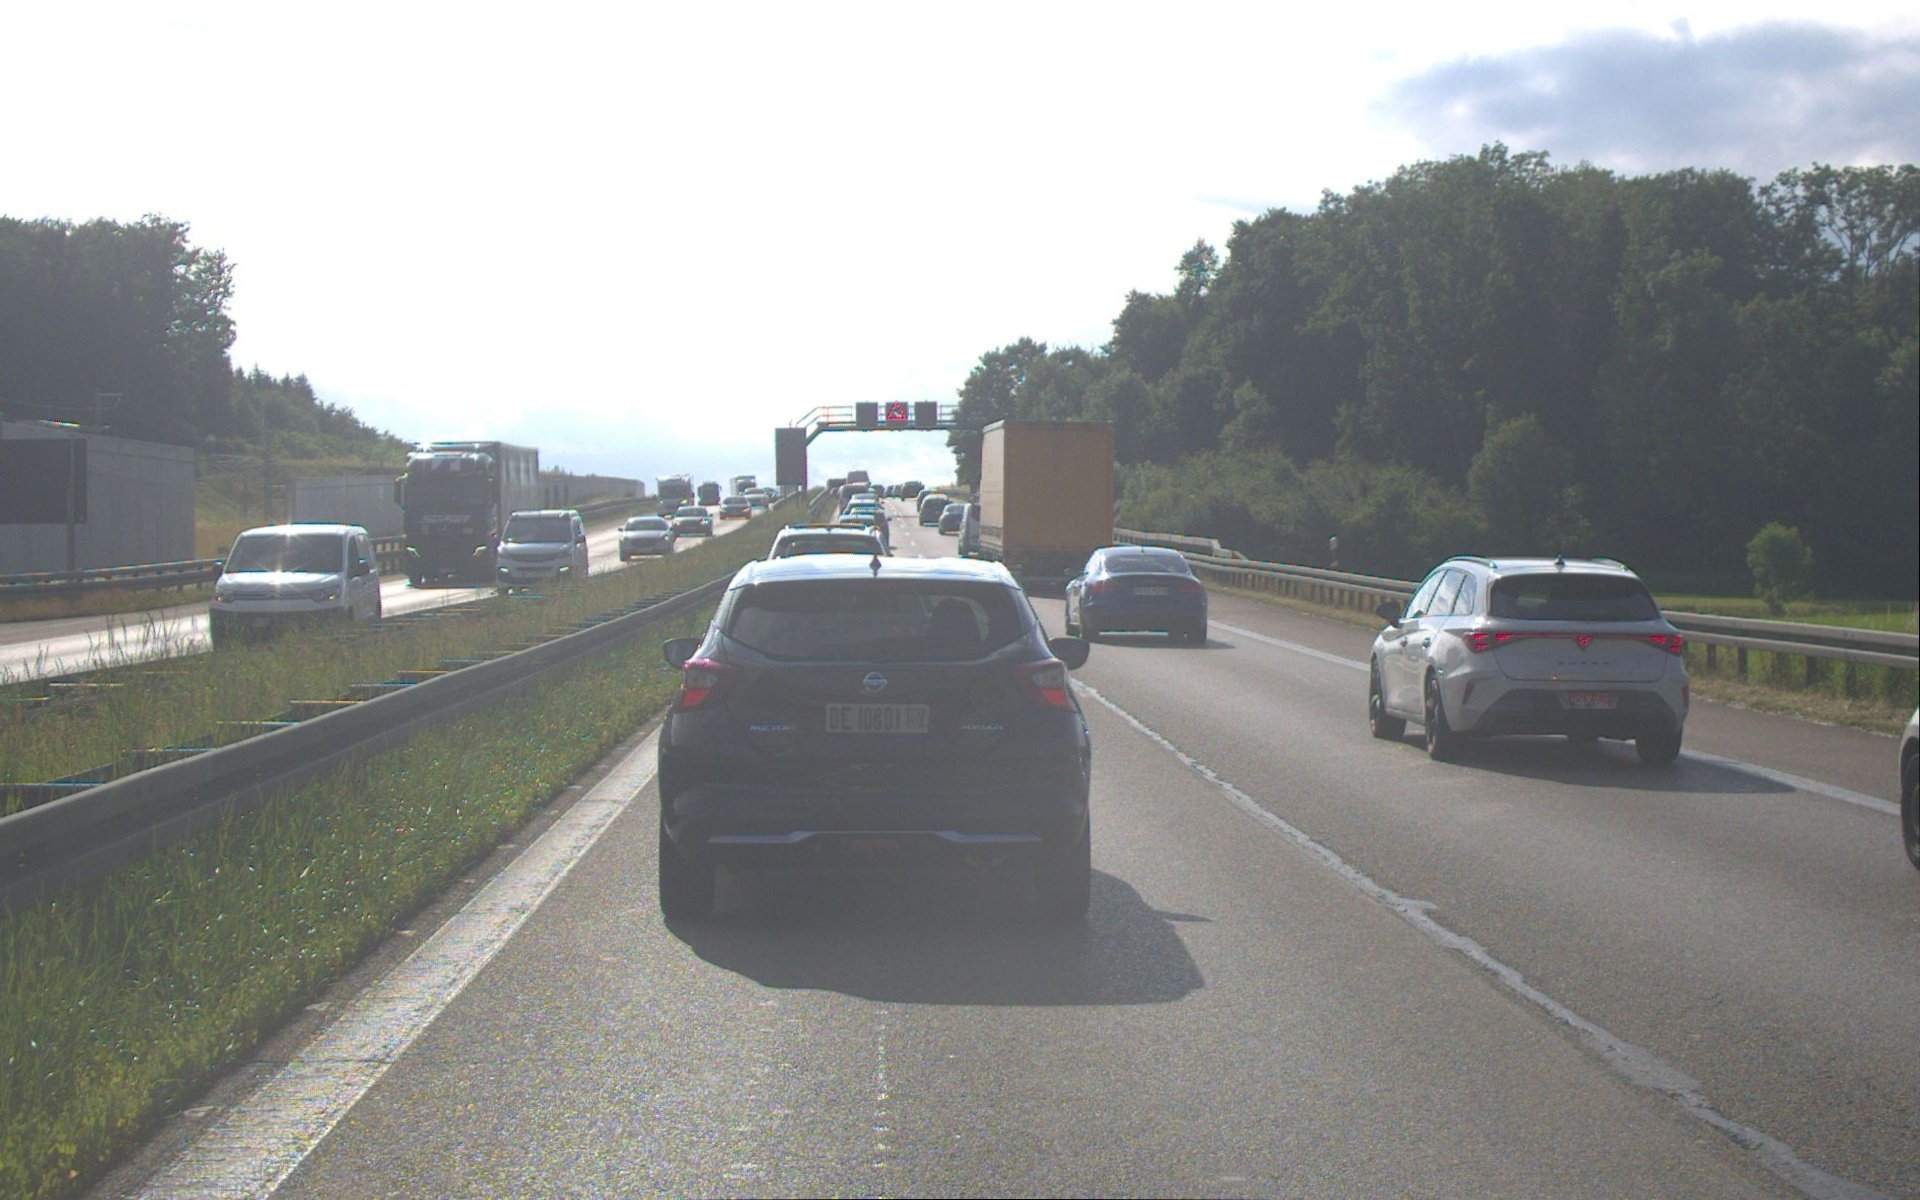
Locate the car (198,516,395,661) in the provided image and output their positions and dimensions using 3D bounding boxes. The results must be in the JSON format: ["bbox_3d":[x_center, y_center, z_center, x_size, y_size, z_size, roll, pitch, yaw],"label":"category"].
[{"bbox_3d":[-8.887,-0.163,46.348,1.860,1.827,4.281,1,0,-1],"label":"car"}]

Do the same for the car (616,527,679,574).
[{"bbox_3d":[-11.180,-1.772,123.191,1.888,1.626,5.111,1,0,-1],"label":"car"}]

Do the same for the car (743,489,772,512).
[{"bbox_3d":[-15.046,-7.405,255.787,1.993,1.587,4.449,1,0,-2],"label":"car"}]

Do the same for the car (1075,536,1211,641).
[{"bbox_3d":[2.662,-0.172,50.784,1.747,1.470,4.147,1,0,0],"label":"car"}]

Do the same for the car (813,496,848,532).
[{"bbox_3d":[-7.572,-4.984,200.464,1.993,2.007,4.000,1,0,-2],"label":"car"}]

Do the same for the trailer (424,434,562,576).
[{"bbox_3d":[-14.230,-2.804,105.811,2.759,4.101,12.905,0,0,-1],"label":"trailer"}]

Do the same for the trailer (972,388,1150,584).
[{"bbox_3d":[2.345,-2.657,85.175,3.548,4.442,12.723,1,0,-2],"label":"trailer"}]

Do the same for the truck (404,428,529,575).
[{"bbox_3d":[-14.160,-2.760,99.128,2.754,4.076,6.954,0,0,-1],"label":"truck"}]

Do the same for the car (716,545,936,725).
[{"bbox_3d":[-1.043,0.257,28.205,1.674,1.362,3.596,1,0,0],"label":"car"}]

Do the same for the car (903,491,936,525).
[{"bbox_3d":[-2.596,-5.847,218.589,1.993,2.007,4.000,1,0,-2],"label":"car"}]

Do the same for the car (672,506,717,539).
[{"bbox_3d":[-12.557,-3.658,162.738,1.902,1.459,4.184,1,0,-2],"label":"car"}]

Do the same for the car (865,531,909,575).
[{"bbox_3d":[-2.955,-1.901,139.489,1.667,1.749,3.327,1,0,0],"label":"car"}]

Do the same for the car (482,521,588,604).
[{"bbox_3d":[-10.170,-0.883,82.601,1.993,1.877,4.787,-2,0,-1],"label":"car"}]

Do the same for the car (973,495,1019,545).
[{"bbox_3d":[1.312,-2.927,126.617,1.667,1.749,3.327,1,0,0],"label":"car"}]

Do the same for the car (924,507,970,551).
[{"bbox_3d":[-0.612,-3.317,161.451,1.993,2.007,4.000,1,0,-2],"label":"car"}]

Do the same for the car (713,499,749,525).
[{"bbox_3d":[-13.696,-5.258,205.512,1.993,1.428,4.449,1,0,-2],"label":"car"}]

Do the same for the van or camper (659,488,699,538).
[{"bbox_3d":[-17.915,-5.519,219.663,2.225,3.068,6.514,1,0,-2],"label":"van or camper"}]

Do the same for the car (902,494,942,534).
[{"bbox_3d":[-2.011,-4.533,181.554,1.993,2.007,4.000,1,0,-2],"label":"car"}]

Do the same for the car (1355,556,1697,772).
[{"bbox_3d":[4.056,0.417,25.262,1.620,1.441,4.147,1,0,-3],"label":"car"}]

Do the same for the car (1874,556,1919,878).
[{"bbox_3d":[5.287,0.579,14.959,1.548,1.490,3.378,1,1,-3],"label":"car"}]

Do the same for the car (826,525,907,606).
[{"bbox_3d":[-2.414,-0.874,87.991,1.993,2.007,4.000,1,0,-2],"label":"car"}]

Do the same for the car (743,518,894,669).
[{"bbox_3d":[-1.672,-0.088,41.548,1.674,1.720,3.596,1,0,0],"label":"car"}]

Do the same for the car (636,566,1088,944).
[{"bbox_3d":[-0.371,0.582,14.833,1.710,1.421,3.378,1,0,0],"label":"car"}]
